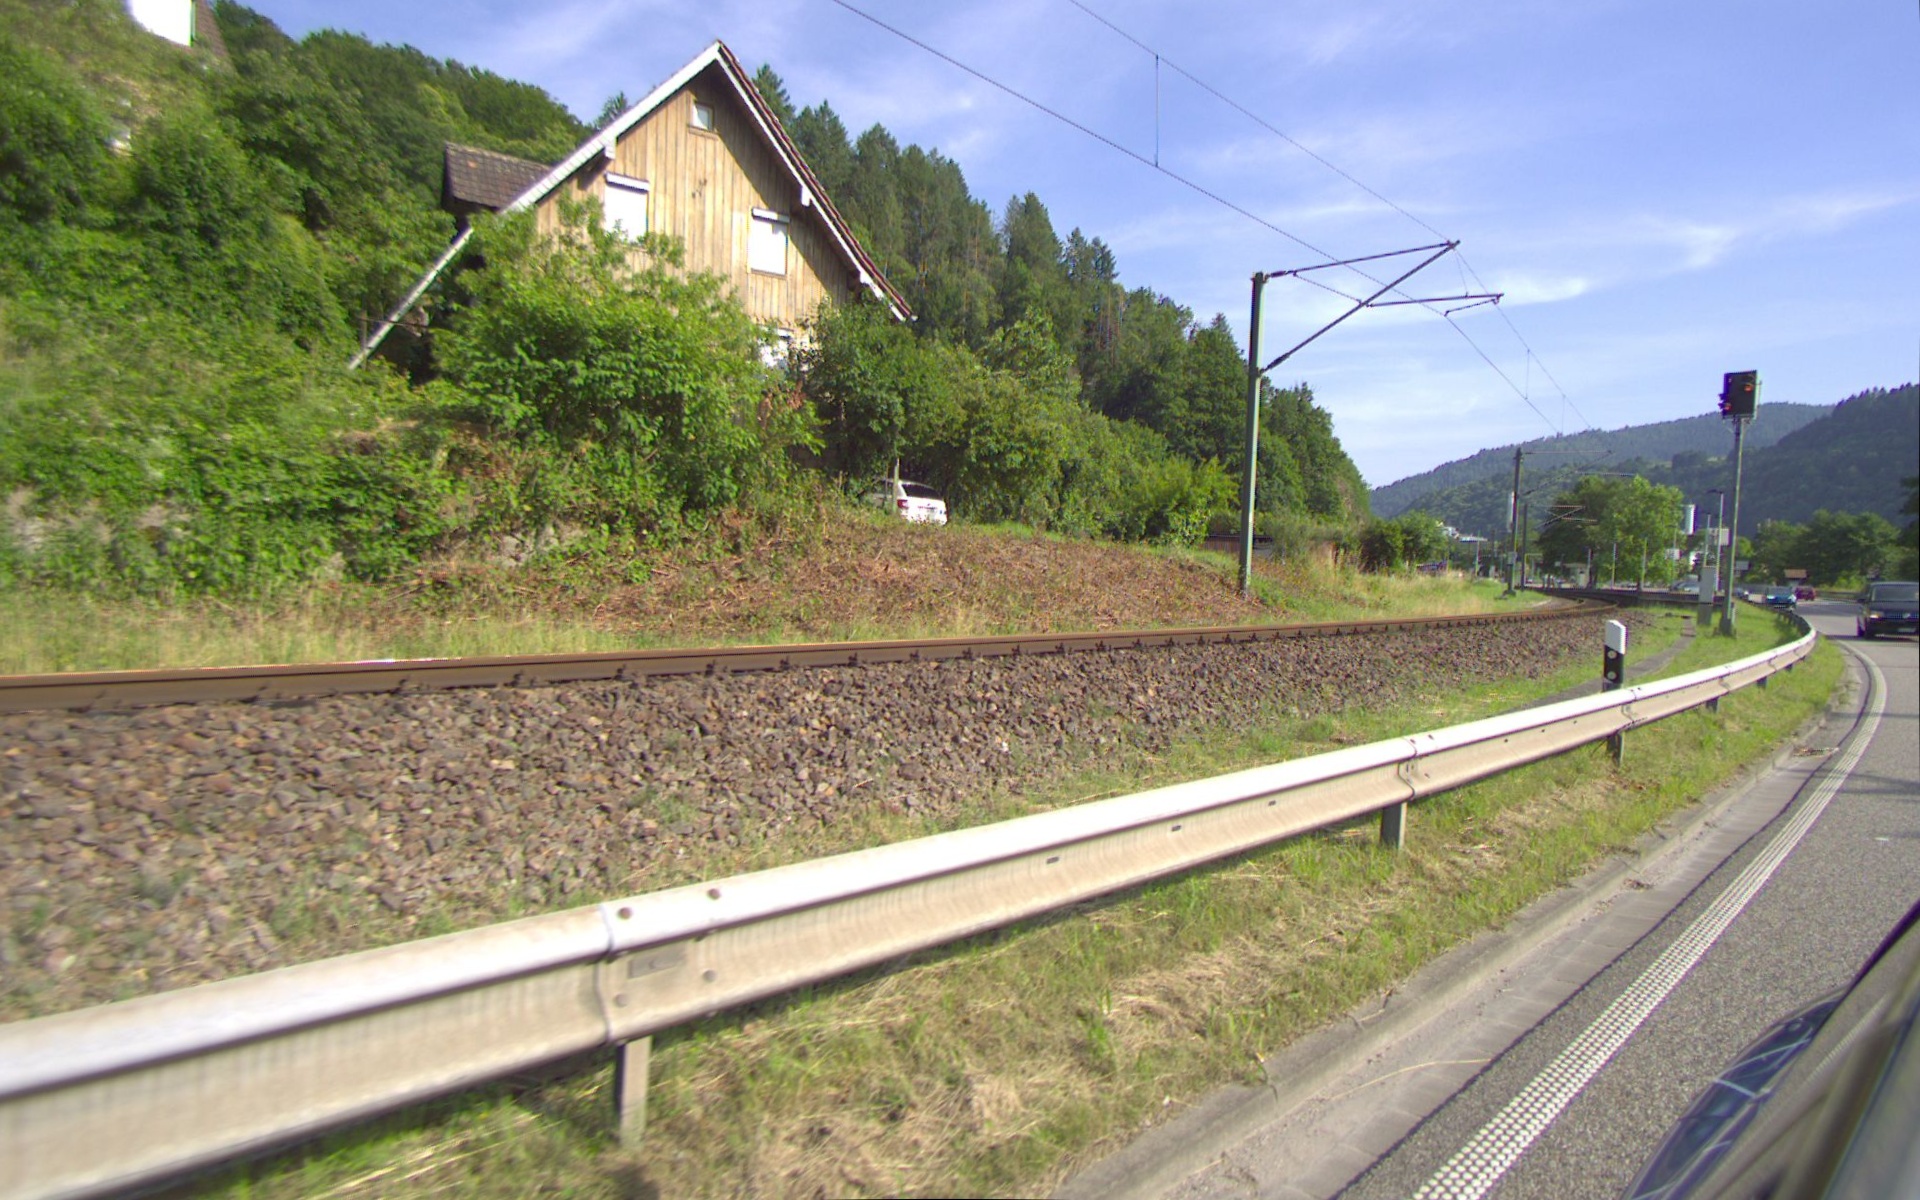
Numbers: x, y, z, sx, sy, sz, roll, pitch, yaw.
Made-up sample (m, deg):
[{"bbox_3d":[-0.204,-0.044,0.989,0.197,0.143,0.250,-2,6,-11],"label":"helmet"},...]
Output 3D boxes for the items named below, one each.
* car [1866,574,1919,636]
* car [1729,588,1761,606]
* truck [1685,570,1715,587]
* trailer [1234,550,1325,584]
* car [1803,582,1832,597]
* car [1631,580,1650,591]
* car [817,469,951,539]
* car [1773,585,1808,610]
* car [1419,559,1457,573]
[{"bbox_3d":[31.850,0.111,33.920,2.010,1.940,4.251,1,2,39],"label":"car"},{"bbox_3d":[77.113,-0.332,99.461,1.871,1.767,4.134,1,1,30],"label":"car"},{"bbox_3d":[104.563,-3.052,143.103,1.860,2.314,4.696,1,1,16],"label":"truck"},{"bbox_3d":[15.887,-1.643,50.294,4.059,1.045,2.306,9,3,23],"label":"trailer"},{"bbox_3d":[81.976,-0.981,96.787,1.627,1.366,4.061,0,2,33],"label":"car"},{"bbox_3d":[111.665,-2.384,166.028,1.867,1.767,4.143,1,1,25],"label":"car"},{"bbox_3d":[-2.214,-2.586,28.217,1.743,1.603,4.472,-1,2,-34],"label":"car"},{"bbox_3d":[62.465,-0.200,76.153,1.876,1.767,4.123,1,1,37],"label":"car"},{"bbox_3d":[68.235,-4.837,144.542,4.925,2.039,1.982,0,1,26],"label":"car"}]
